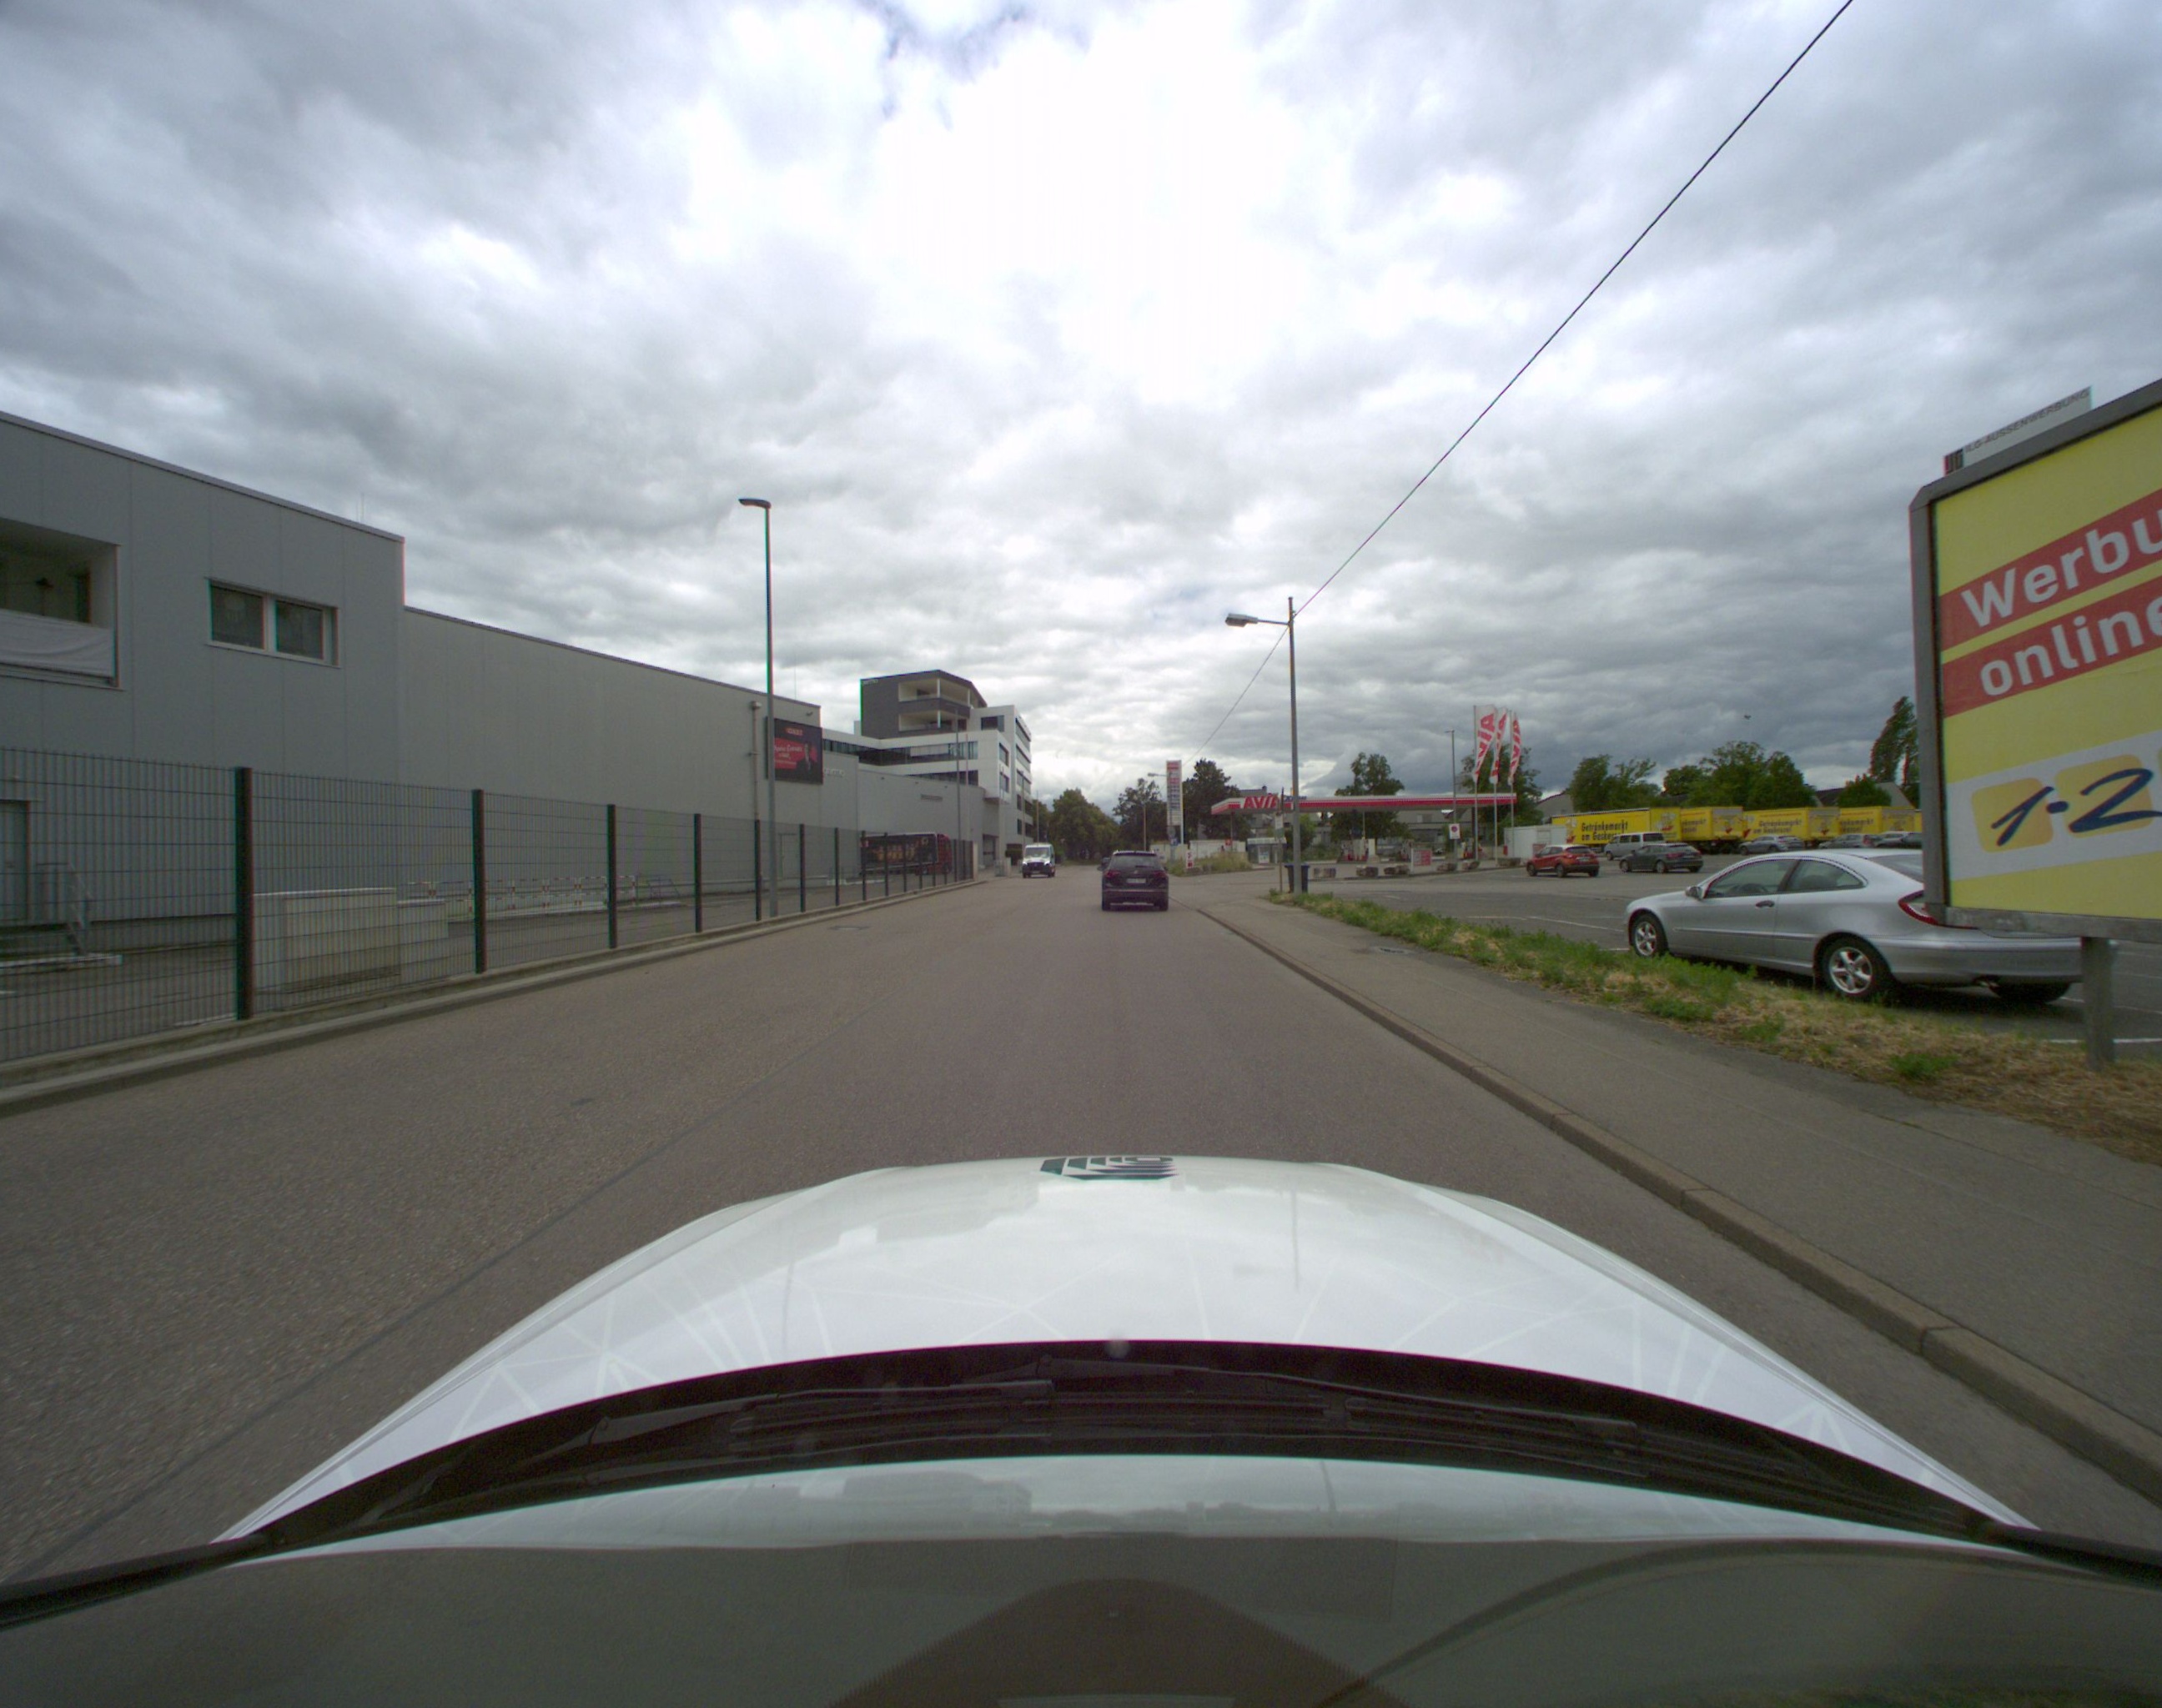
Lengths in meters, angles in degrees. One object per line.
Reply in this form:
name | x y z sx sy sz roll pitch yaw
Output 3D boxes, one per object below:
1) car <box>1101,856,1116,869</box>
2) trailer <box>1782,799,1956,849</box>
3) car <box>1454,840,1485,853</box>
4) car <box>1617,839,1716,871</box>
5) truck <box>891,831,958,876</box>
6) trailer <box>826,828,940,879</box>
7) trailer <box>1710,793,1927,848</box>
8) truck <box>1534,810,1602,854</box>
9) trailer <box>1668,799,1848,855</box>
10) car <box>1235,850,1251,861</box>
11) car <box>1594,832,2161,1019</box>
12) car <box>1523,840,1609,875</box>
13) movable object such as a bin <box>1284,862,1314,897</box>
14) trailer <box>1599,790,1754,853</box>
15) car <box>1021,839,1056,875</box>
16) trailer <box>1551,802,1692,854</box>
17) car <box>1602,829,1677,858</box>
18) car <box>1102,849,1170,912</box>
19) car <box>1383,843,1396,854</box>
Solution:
car | 3.487 1.029 103.930 1.832 1.616 4.002 -1 0 2
trailer | 71.130 -2.523 74.244 2.681 3.915 13.690 -2 0 1
car | 51.017 -0.973 106.997 1.955 1.645 4.654 -2 0 1
car | 28.369 0.061 39.634 1.758 1.391 4.216 -3 0 1
truck | -14.711 -0.094 77.138 2.718 4.031 7.131 -1 0 22
trailer | -17.027 -0.066 71.486 2.718 4.031 12.685 -1 0 22
trailer | 63.144 -2.612 71.068 2.681 3.915 18.073 -2 0 1
truck | 47.204 -2.052 79.094 2.946 3.915 6.041 -2 0 1
trailer | 59.364 -2.141 72.502 3.010 4.260 15.726 -2 0 1
car | 26.432 0.197 132.518 1.978 1.612 4.462 -2 0 17
car | 7.854 0.570 8.816 1.767 1.464 4.560 -1 0 1
car | 23.569 0.172 39.761 1.758 1.571 4.216 -1 0 1
movable object such as a bin | 6.956 0.804 26.014 0.713 1.081 0.661 -1 0 -5
trailer | 50.968 -2.538 70.595 2.989 4.723 14.303 -2 0 1
car | -2.936 0.189 57.368 1.986 2.416 5.258 0 0 1
trailer | 47.112 -2.088 71.871 2.989 3.915 14.303 -2 0 1
car | 39.063 -0.708 57.136 1.976 1.912 4.952 -1 0 1
car | 1.556 0.679 22.915 1.731 1.618 3.645 0 0 4
car | 49.559 -0.888 130.827 1.888 1.521 4.085 -2 0 21
